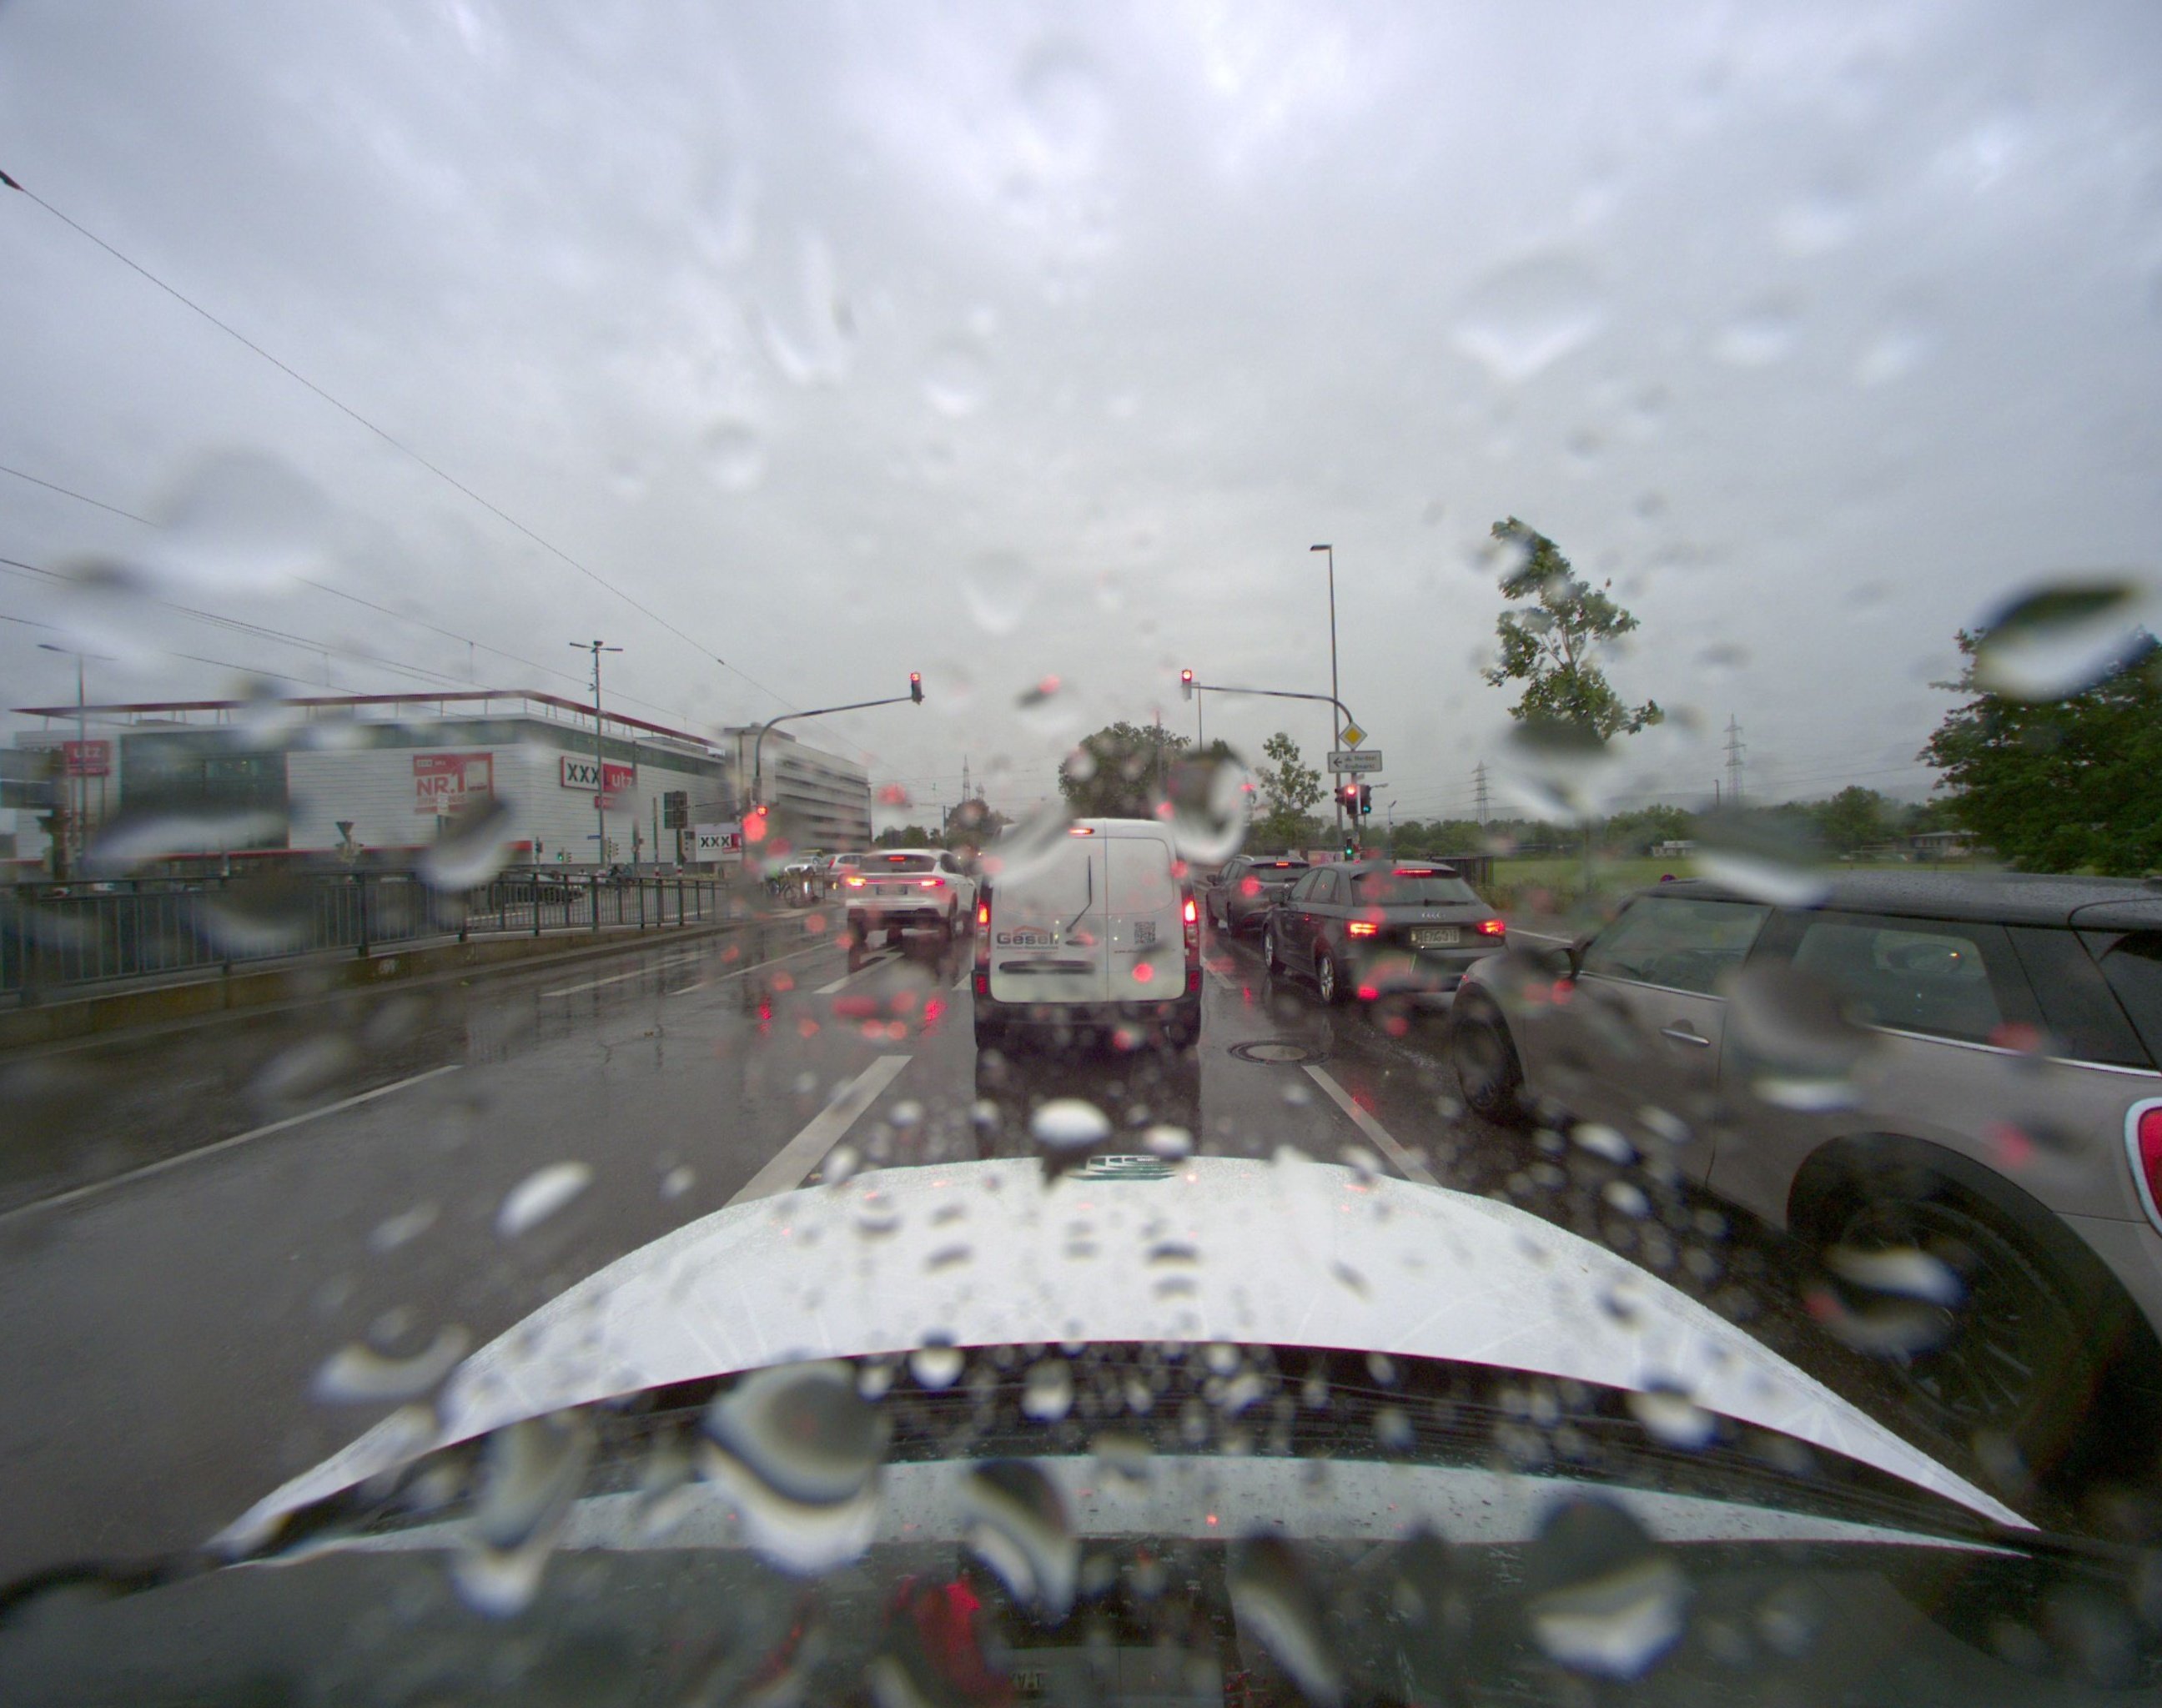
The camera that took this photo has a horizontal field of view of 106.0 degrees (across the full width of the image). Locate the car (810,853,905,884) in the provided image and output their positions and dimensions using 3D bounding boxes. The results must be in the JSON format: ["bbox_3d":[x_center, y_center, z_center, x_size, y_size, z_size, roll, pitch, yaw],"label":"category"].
[{"bbox_3d":[-11.114,0.724,40.700,4.276,1.428,1.630,1,-1,-44],"label":"car"}]

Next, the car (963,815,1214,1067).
[{"bbox_3d":[0.005,0.583,7.819,1.749,1.750,4.166,-1,1,-2],"label":"car"}]

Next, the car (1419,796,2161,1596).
[{"bbox_3d":[2.958,0.704,3.256,1.696,1.508,3.880,1,-1,2],"label":"car"}]

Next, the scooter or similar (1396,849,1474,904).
[{"bbox_3d":[8.513,0.502,19.755,0.687,1.211,3.022,-2,0,3],"label":"scooter or similar"}]

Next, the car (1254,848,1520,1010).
[{"bbox_3d":[3.066,0.696,8.970,1.591,1.366,3.631,-2,-1,1],"label":"car"}]

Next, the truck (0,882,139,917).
[{"bbox_3d":[-60.994,2.734,49.145,5.859,1.942,2.012,1,-1,0],"label":"truck"}]

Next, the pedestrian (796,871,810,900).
[{"bbox_3d":[-8.836,0.993,25.863,0.314,0.897,0.380,1,0,-1],"label":"pedestrian"}]

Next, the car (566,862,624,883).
[{"bbox_3d":[-32.894,1.260,55.219,1.473,1.354,3.810,1,-1,2],"label":"car"}]

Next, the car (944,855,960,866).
[{"bbox_3d":[-17.917,0.924,113.399,1.554,1.426,3.570,1,-1,2],"label":"car"}]

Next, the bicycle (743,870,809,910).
[{"bbox_3d":[-8.942,1.040,23.910,1.757,1.137,0.517,0,-1,-16],"label":"bicycle"}]

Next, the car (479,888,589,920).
[{"bbox_3d":[-22.454,2.031,33.579,3.542,1.207,1.428,1,-1,-26],"label":"car"}]

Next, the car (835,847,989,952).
[{"bbox_3d":[-3.113,0.777,16.042,1.923,1.775,4.665,0,0,2],"label":"car"}]

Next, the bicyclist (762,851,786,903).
[{"bbox_3d":[-9.018,0.665,23.943,0.604,1.491,0.597,0,-1,-15],"label":"bicyclist"}]

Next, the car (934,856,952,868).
[{"bbox_3d":[-17.713,1.047,104.289,1.554,1.426,3.570,1,-1,2],"label":"car"}]

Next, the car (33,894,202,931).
[{"bbox_3d":[-38.422,2.321,32.605,4.063,1.376,1.596,1,-1,-20],"label":"car"}]

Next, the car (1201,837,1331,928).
[{"bbox_3d":[3.373,0.482,15.548,1.678,1.508,3.921,0,0,1],"label":"car"}]

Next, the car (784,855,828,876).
[{"bbox_3d":[-19.442,0.820,57.800,1.704,1.426,3.810,1,-1,2],"label":"car"}]

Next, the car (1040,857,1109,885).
[{"bbox_3d":[-0.344,0.941,45.957,3.763,1.507,1.631,1,-1,-42],"label":"car"}]

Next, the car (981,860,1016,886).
[{"bbox_3d":[-5.152,1.159,51.405,1.628,1.522,3.777,2,0,2],"label":"car"}]
